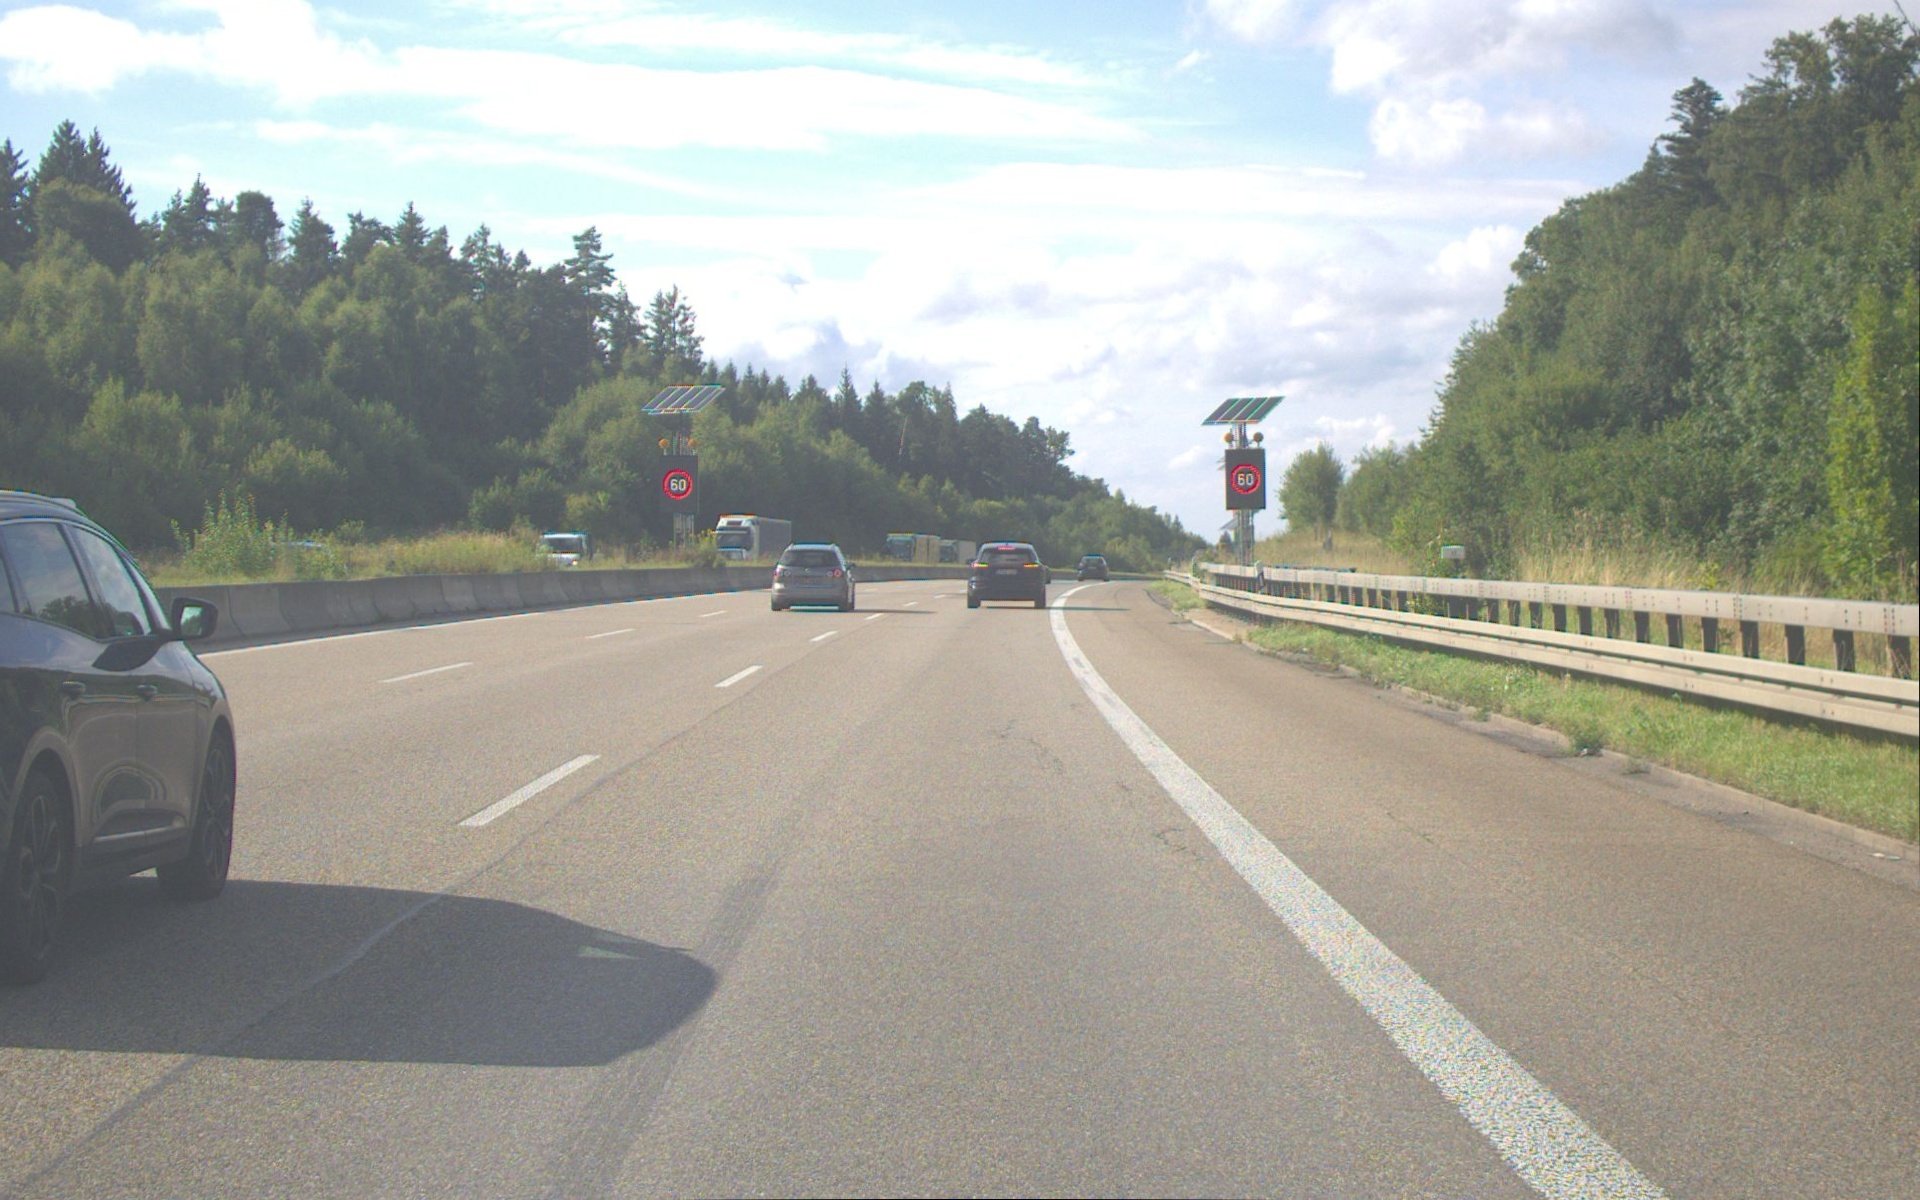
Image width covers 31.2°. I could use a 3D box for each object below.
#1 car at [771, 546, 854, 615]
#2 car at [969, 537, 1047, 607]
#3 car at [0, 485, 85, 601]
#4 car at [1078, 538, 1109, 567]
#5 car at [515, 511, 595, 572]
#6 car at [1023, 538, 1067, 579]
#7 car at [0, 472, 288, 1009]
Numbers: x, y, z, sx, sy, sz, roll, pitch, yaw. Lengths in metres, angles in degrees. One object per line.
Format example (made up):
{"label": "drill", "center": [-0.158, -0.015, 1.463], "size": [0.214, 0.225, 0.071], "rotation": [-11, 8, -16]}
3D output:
{"label": "car", "center": [-3.425, -0.462, 79.797], "size": [1.873, 1.492, 3.880], "rotation": [1, 2, -3]}
{"label": "car", "center": [1.187, -0.725, 86.220], "size": [1.873, 1.669, 3.890], "rotation": [1, 2, 0]}
{"label": "car", "center": [-19.222, -1.158, 68.722], "size": [2.065, 2.236, 5.204], "rotation": [1, 1, 1]}
{"label": "car", "center": [8.051, -2.860, 207.609], "size": [1.812, 1.700, 4.000], "rotation": [0, 1, 2]}
{"label": "car", "center": [-16.753, -2.417, 142.574], "size": [2.310, 2.310, 6.192], "rotation": [4, 1, 1]}
{"label": "car", "center": [4.353, -2.157, 177.083], "size": [1.993, 2.007, 4.001], "rotation": [1, 1, -2]}
{"label": "car", "center": [-3.975, 0.389, 13.127], "size": [1.993, 1.701, 4.529], "rotation": [1, 1, -1]}
